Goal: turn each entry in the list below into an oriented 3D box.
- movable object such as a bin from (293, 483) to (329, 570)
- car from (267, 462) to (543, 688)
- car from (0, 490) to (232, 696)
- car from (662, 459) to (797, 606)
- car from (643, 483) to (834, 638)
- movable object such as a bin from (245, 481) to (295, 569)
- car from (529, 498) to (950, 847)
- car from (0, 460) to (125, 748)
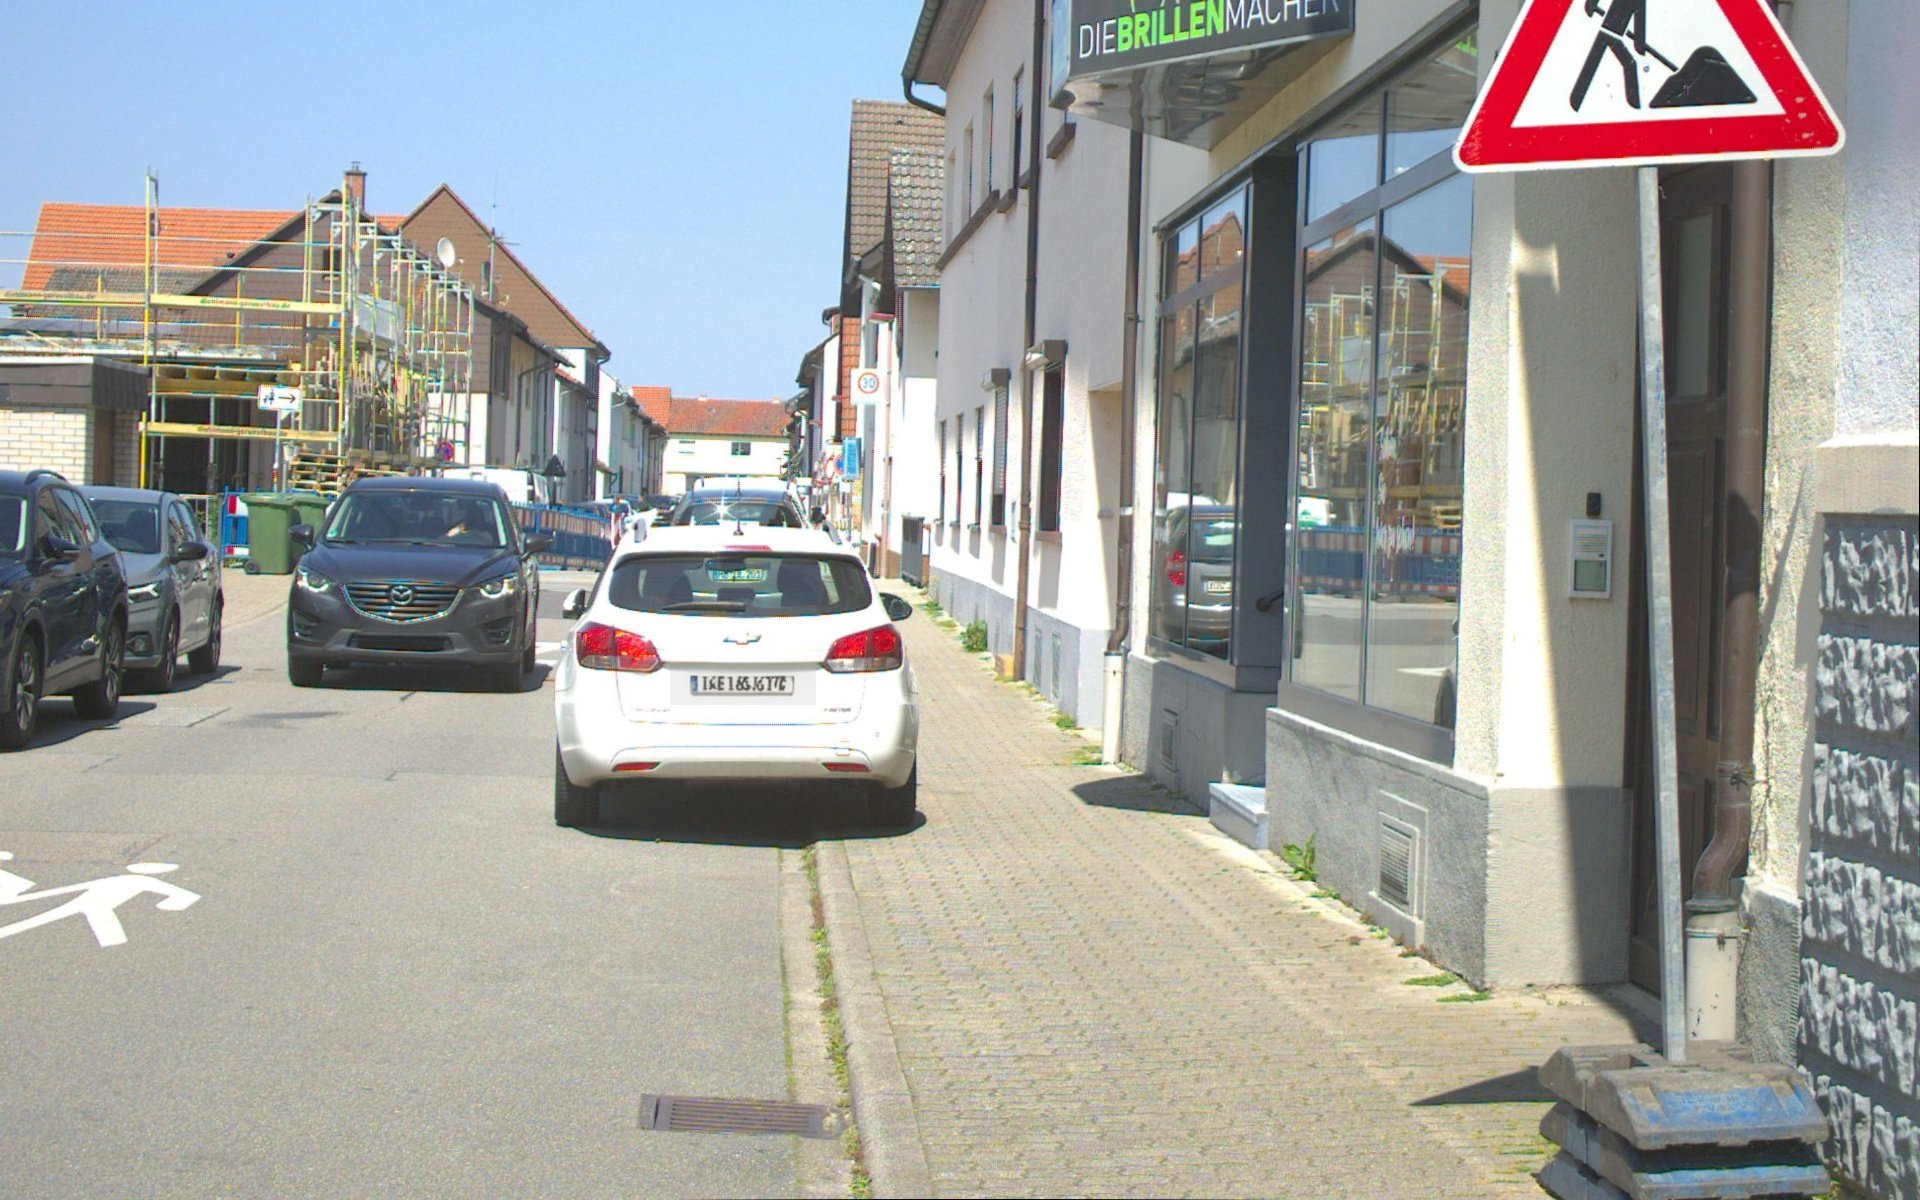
[{"bbox_3d":[-8.770,-0.992,46.476,0.431,1.151,0.364,2,2,-13],"label":"movable object such as a bin"},{"bbox_3d":[-4.481,-0.254,28.297,1.881,1.662,4.154,2,2,-5],"label":"car"},{"bbox_3d":[-6.679,-0.102,26.854,1.436,1.469,3.787,2,1,-5],"label":"car"},{"bbox_3d":[-2.879,-0.879,42.972,1.564,1.607,3.544,2,4,-4],"label":"car"},{"bbox_3d":[-2.485,-0.480,37.814,1.884,1.550,3.895,-2,2,-6],"label":"car"},{"bbox_3d":[-9.223,-1.009,45.975,0.621,1.151,0.677,2,2,-10],"label":"movable object such as a bin"},{"bbox_3d":[-1.200,0.278,17.935,1.886,1.536,4.244,2,2,-5],"label":"car"},{"bbox_3d":[-6.481,-0.074,21.427,1.826,1.625,4.218,2,2,-5],"label":"car"}]
